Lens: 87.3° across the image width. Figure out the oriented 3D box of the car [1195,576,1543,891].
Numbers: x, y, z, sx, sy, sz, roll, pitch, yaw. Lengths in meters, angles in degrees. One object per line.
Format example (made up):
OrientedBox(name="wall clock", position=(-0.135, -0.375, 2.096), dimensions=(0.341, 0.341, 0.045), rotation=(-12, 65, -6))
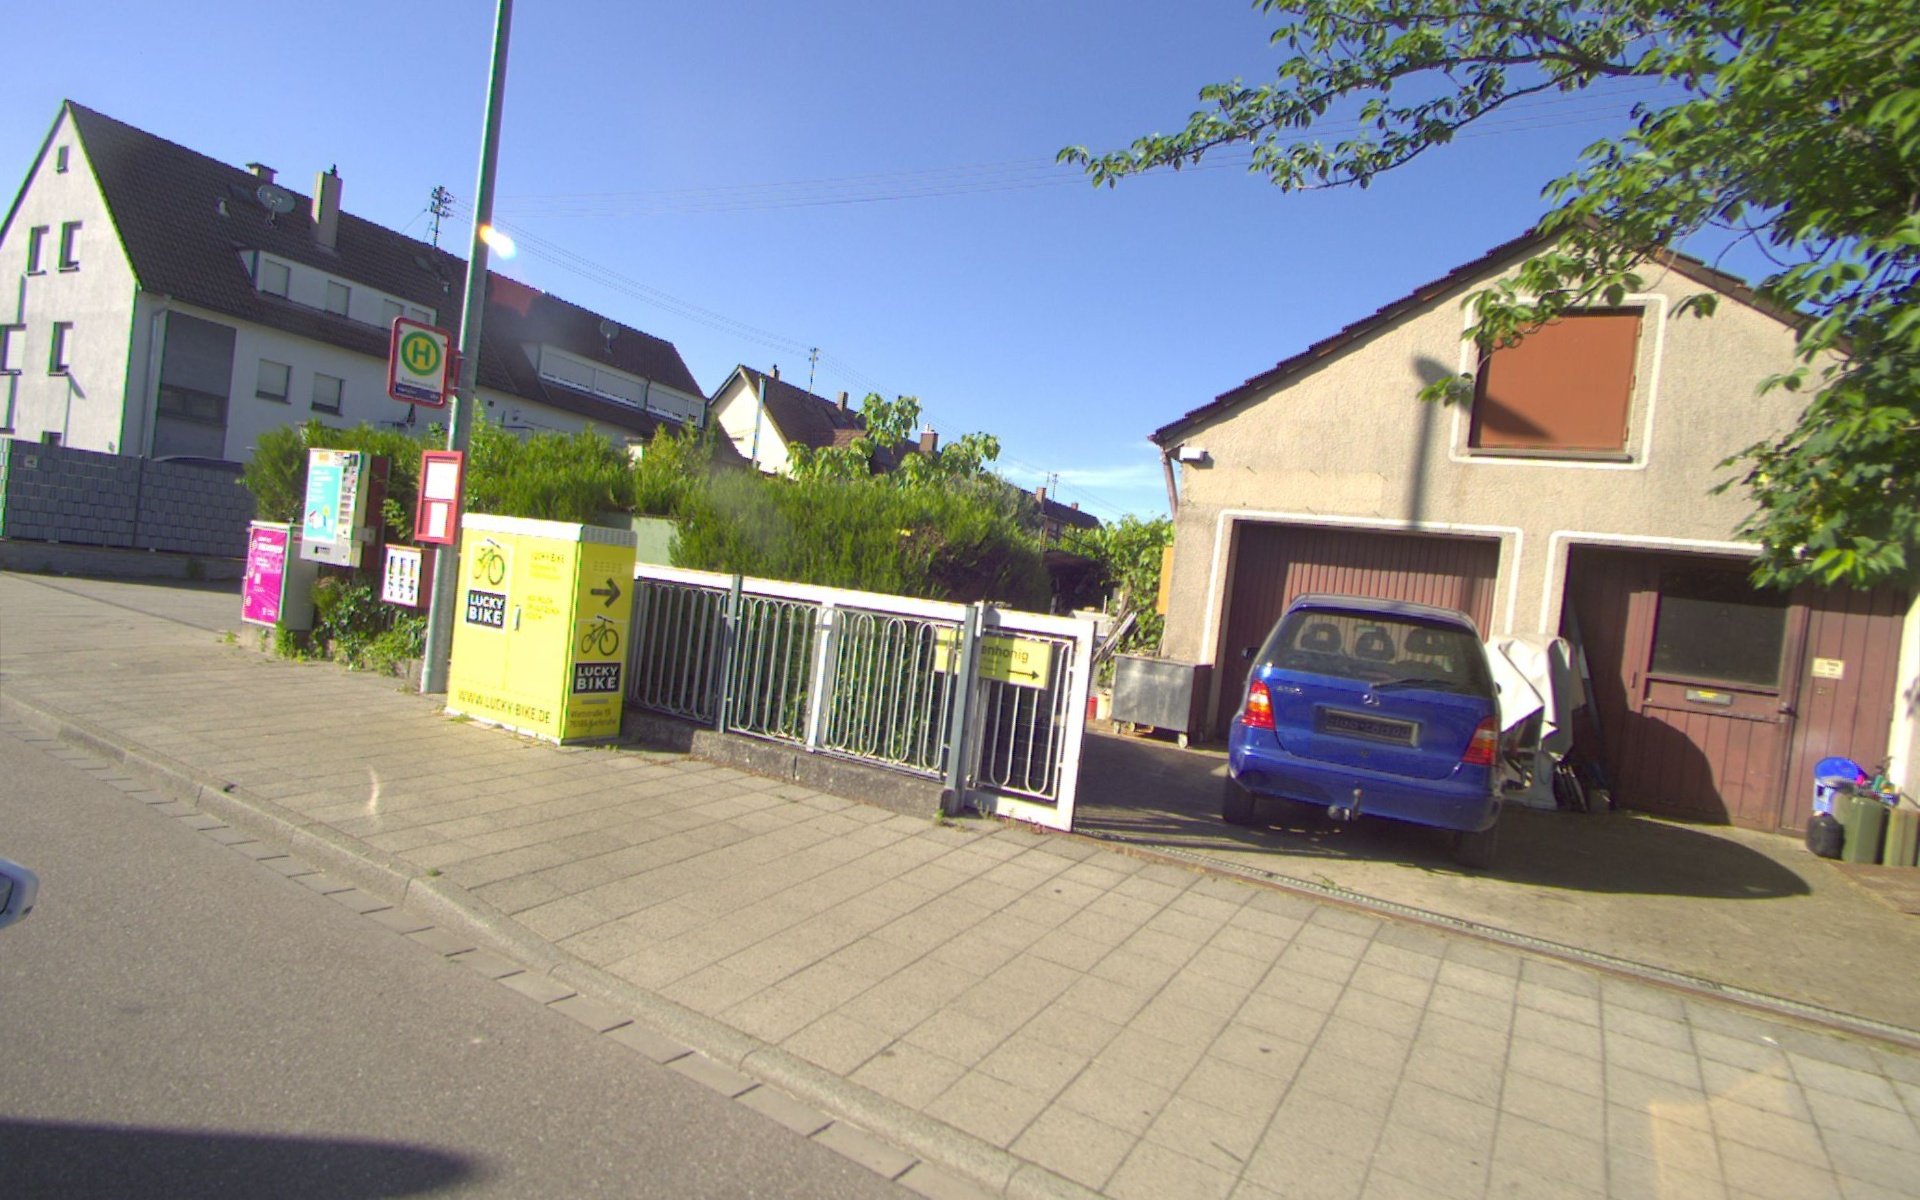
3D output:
OrientedBox(name="car", position=(3.031, 0.779, 7.621), dimensions=(1.720, 1.590, 3.769), rotation=(7, 1, 22))
